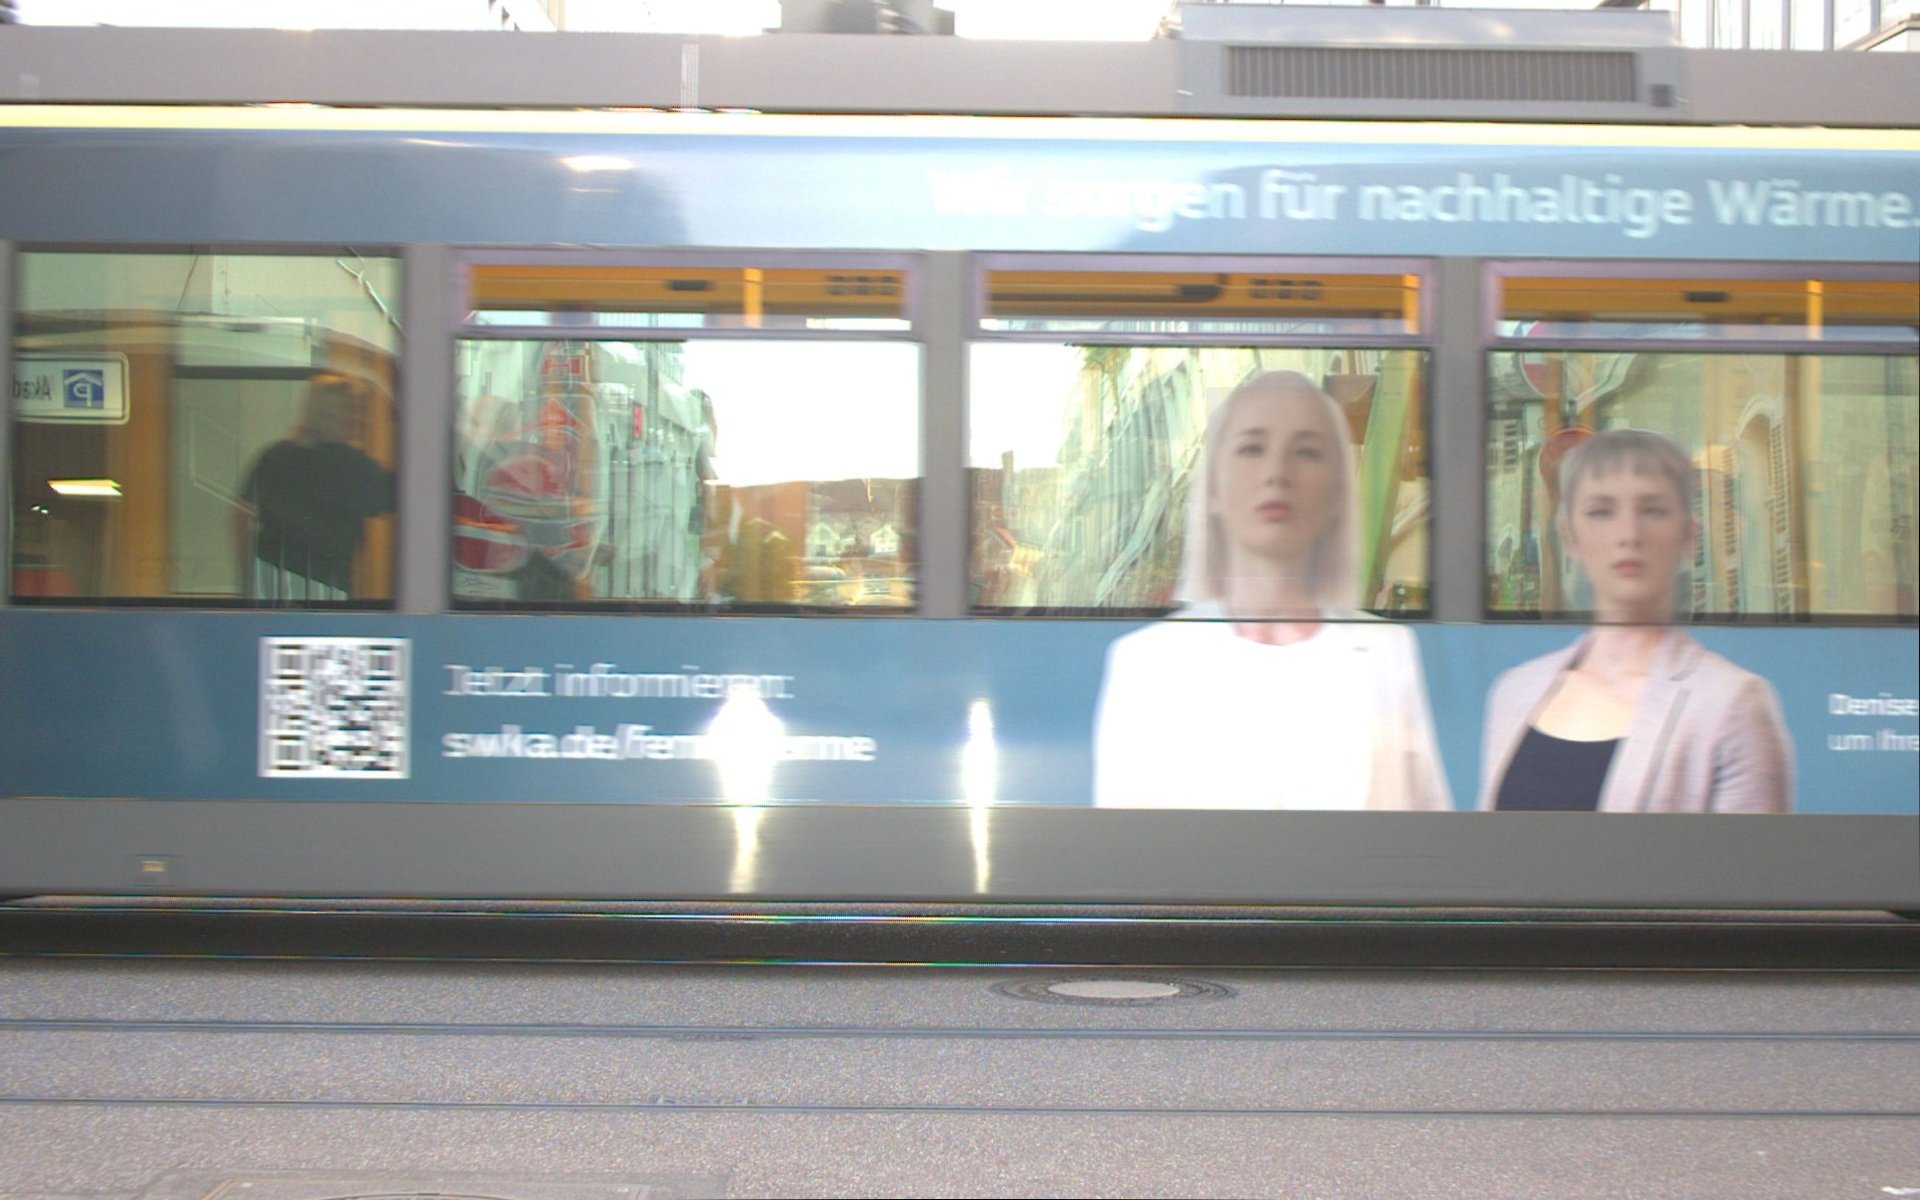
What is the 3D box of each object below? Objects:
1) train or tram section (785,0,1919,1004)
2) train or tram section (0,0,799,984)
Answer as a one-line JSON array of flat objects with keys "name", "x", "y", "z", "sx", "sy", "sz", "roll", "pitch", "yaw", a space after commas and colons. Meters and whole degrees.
[{"name": "train or tram section", "x": 4.549, "y": -0.382, "z": 13.324, "sx": 10.335, "sy": 3.511, "sz": 3.027, "roll": 0, "pitch": 0, "yaw": -1}, {"name": "train or tram section", "x": -5.858, "y": -0.480, "z": 13.153, "sx": 10.367, "sy": 3.512, "sz": 3.017, "roll": 0, "pitch": 0, "yaw": -1}]
